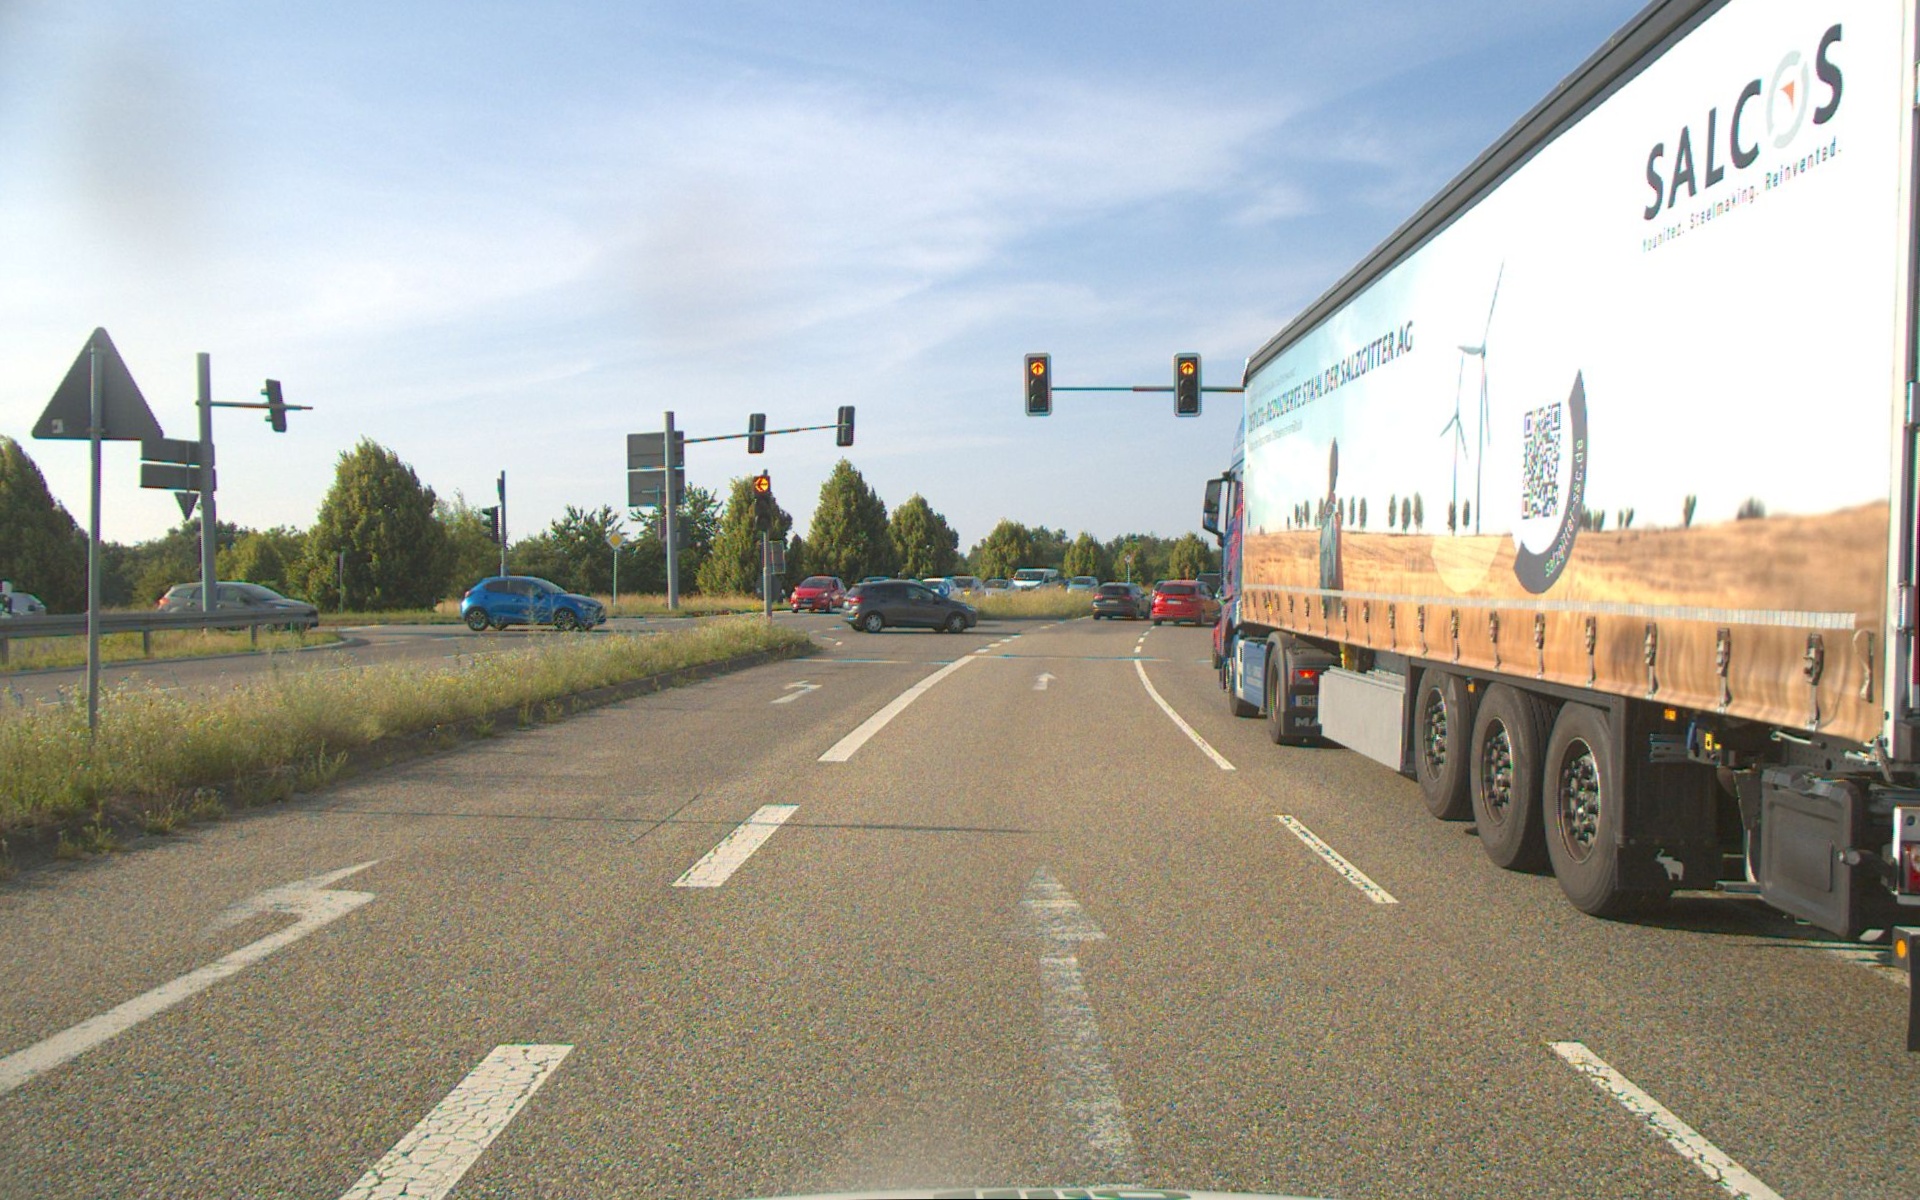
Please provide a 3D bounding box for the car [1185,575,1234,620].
[{"bbox_3d":[10.560,-0.082,70.271,1.868,1.831,4.280,1,-1,6],"label":"car"}]

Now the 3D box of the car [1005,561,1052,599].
[{"bbox_3d":[4.017,-1.162,96.413,1.884,2.114,4.247,0,0,14],"label":"car"}]

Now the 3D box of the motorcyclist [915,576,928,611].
[{"bbox_3d":[-2.067,-0.360,88.760,0.648,1.848,0.605,0,0,3],"label":"motorcyclist"}]

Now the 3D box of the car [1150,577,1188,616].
[{"bbox_3d":[10.903,-0.161,86.081,1.868,1.949,4.281,0,-1,8],"label":"car"}]

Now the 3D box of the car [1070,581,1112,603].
[{"bbox_3d":[8.673,-0.540,109.474,1.749,1.410,4.052,0,0,20],"label":"car"}]

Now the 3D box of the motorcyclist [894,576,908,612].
[{"bbox_3d":[-2.940,-0.289,82.391,0.648,1.778,0.605,0,0,3],"label":"motorcyclist"}]

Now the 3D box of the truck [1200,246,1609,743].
[{"bbox_3d":[4.682,-1.034,18.756,3.231,4.739,5.734,1,0,2],"label":"truck"}]

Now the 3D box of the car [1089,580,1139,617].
[{"bbox_3d":[6.205,-0.027,66.262,1.797,1.401,4.281,0,-1,8],"label":"car"}]

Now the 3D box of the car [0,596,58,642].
[{"bbox_3d":[-34.695,0.668,59.013,3.908,1.567,1.999,0,1,-4],"label":"car"}]

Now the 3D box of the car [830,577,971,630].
[{"bbox_3d":[-1.729,0.116,47.740,3.722,1.440,1.912,1,-1,-17],"label":"car"}]

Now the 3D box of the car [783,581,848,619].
[{"bbox_3d":[-6.033,-0.021,69.450,1.684,1.514,3.808,0,0,11],"label":"car"}]

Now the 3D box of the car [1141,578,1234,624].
[{"bbox_3d":[8.232,0.061,59.562,1.859,1.592,4.270,0,-1,29],"label":"car"}]

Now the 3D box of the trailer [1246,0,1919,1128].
[{"bbox_3d":[4.471,-0.944,11.131,3.213,4.763,13.151,1,0,2],"label":"trailer"}]

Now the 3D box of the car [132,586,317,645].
[{"bbox_3d":[-20.617,0.420,46.422,4.420,1.593,1.817,0,0,6],"label":"car"}]

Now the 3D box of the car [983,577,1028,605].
[{"bbox_3d":[2.416,-0.495,87.052,1.748,1.410,4.055,0,0,10],"label":"car"}]

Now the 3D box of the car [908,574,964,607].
[{"bbox_3d":[-1.064,-0.440,75.244,1.748,1.458,4.313,0,0,10],"label":"car"}]

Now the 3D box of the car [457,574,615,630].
[{"bbox_3d":[-11.768,0.047,46.014,3.887,1.518,1.780,0,1,7],"label":"car"}]
